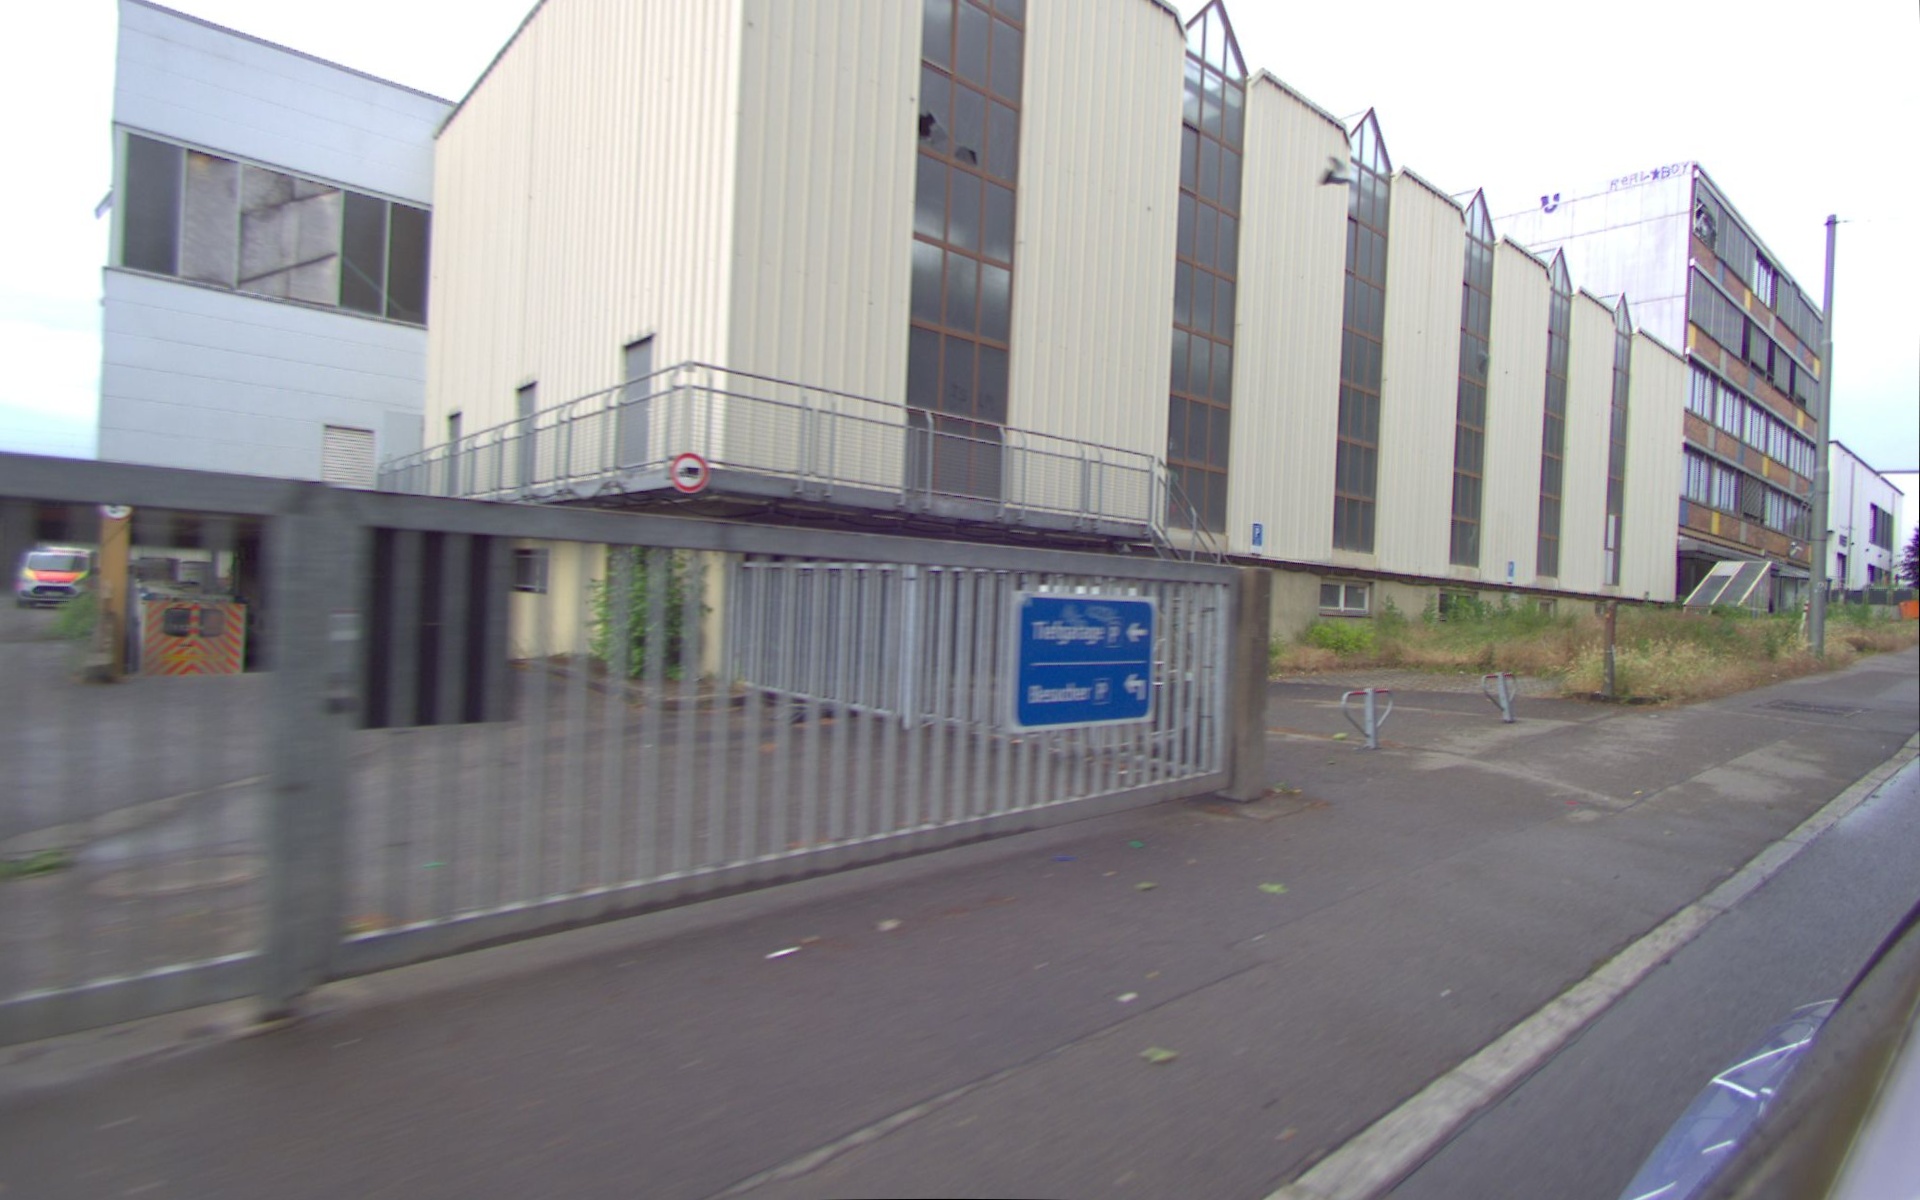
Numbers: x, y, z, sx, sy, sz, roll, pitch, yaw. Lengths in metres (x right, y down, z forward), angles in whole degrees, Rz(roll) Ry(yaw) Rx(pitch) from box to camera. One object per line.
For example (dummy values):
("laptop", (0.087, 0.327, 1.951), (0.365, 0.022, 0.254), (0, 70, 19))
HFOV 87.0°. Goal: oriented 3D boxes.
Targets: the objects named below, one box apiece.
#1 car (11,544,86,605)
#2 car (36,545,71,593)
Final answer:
("car", (-32.442, -0.919, 36.118), (1.686, 2.048, 3.842), (1, 1, -38))
("car", (-50.055, -1.656, 55.861), (1.349, 2.545, 4.426), (0, 0, -43))
